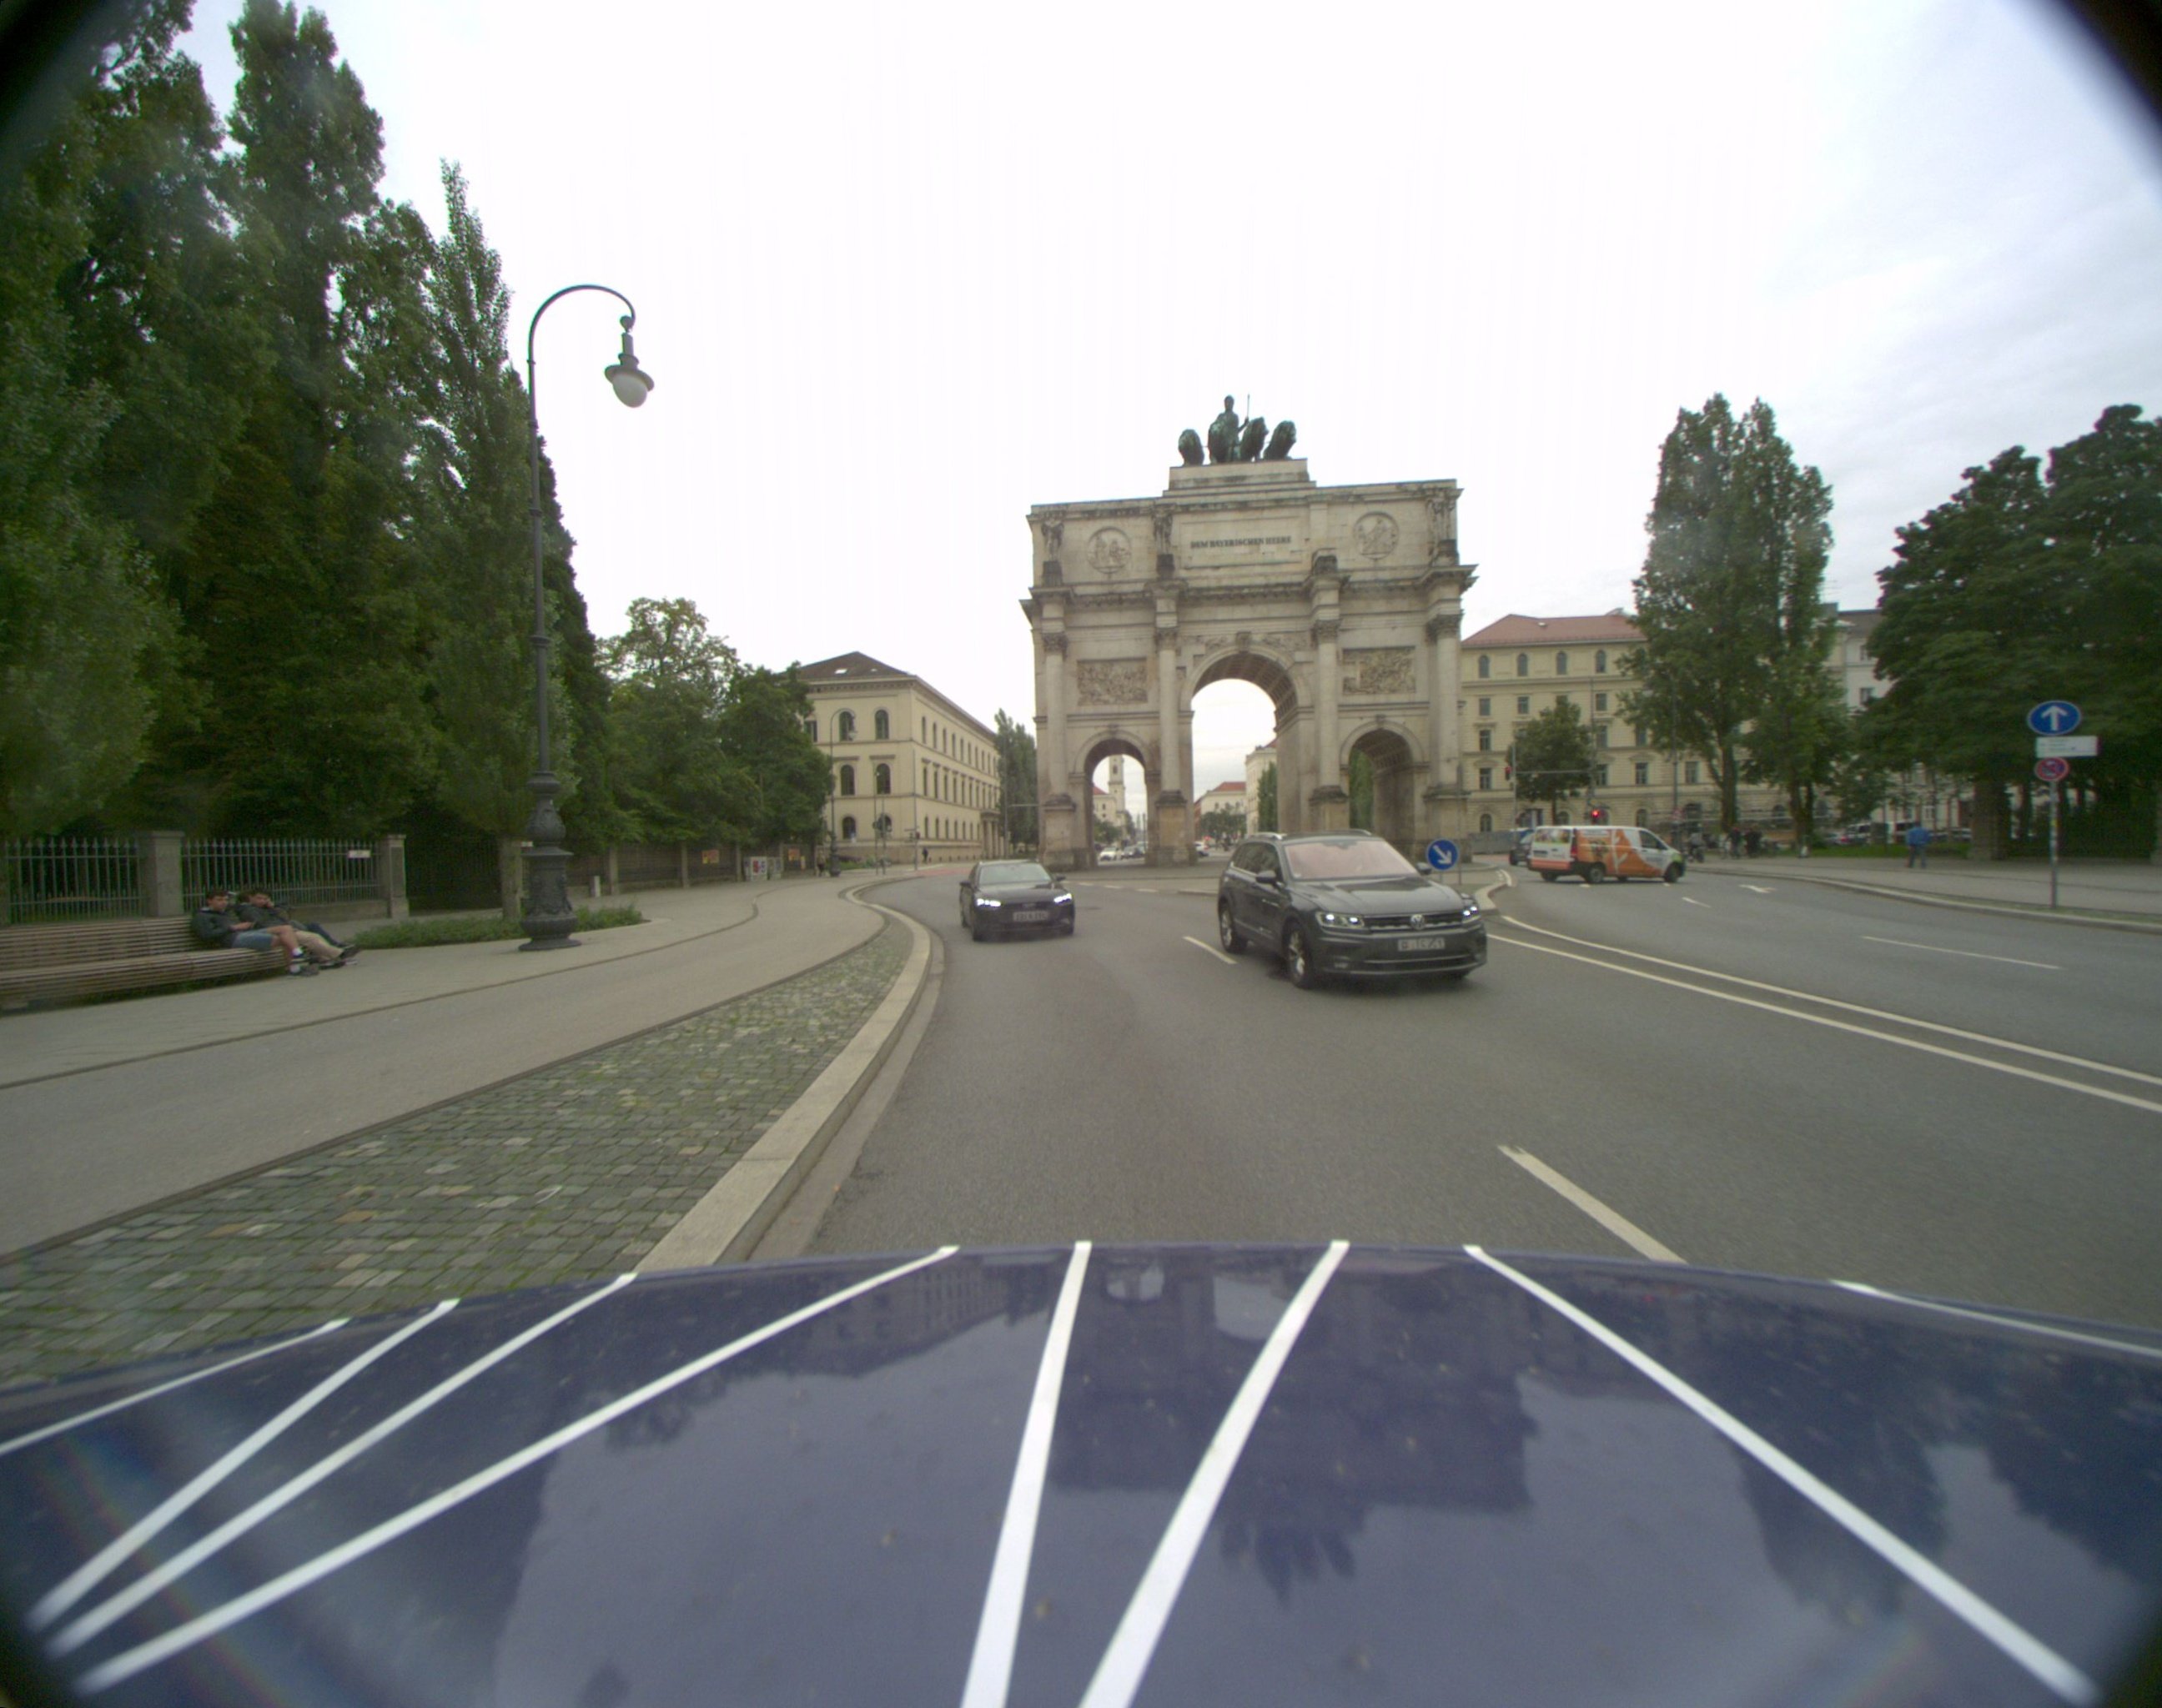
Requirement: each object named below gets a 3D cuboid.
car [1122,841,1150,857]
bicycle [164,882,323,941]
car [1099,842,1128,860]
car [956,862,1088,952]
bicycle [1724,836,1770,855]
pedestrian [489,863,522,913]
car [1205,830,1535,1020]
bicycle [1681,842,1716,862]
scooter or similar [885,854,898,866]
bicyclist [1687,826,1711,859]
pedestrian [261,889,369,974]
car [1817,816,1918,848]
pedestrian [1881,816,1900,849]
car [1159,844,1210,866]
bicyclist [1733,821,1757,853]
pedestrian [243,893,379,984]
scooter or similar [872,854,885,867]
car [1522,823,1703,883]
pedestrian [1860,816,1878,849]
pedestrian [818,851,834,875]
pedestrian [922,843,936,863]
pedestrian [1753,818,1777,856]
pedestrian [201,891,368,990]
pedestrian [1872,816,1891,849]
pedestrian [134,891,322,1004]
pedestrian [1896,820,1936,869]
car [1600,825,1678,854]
[{"bbox_3d":[6.345,-0.553,86.834,1.784,1.740,4.327,-1,1,24],"label":"car"},{"bbox_3d":[-20.892,1.383,19.090,0.674,1.232,2.999,0,1,-1],"label":"bicycle"},{"bbox_3d":[3.522,-0.349,81.624,1.784,1.740,4.326,-1,1,21],"label":"car"},{"bbox_3d":[-1.342,0.925,15.256,1.924,1.320,4.406,-4,1,-13],"label":"car"},{"bbox_3d":[35.508,-0.434,40.510,0.645,0.968,1.757,-2,1,-38],"label":"bicycle"},{"bbox_3d":[-19.376,1.142,25.594,0.590,1.611,0.536,-2,2,5],"label":"pedestrian"},{"bbox_3d":[3.035,0.614,9.163,1.954,1.615,4.409,-4,1,-4],"label":"car"},{"bbox_3d":[32.338,-0.116,39.807,0.643,0.968,1.763,-1,1,10],"label":"bicycle"},{"bbox_3d":[-17.673,0.563,70.911,0.567,1.135,1.657,-1,1,7],"label":"scooter or similar"},{"bbox_3d":[32.318,-0.601,39.727,0.643,1.700,0.860,-1,1,10],"label":"bicyclist"},{"bbox_3d":[-12.025,1.195,11.958,1.004,1.206,0.565,-3,2,-25],"label":"pedestrian"},{"bbox_3d":[53.734,-1.503,51.981,4.509,2.002,2.001,-1,1,8],"label":"car"},{"bbox_3d":[49.160,-1.309,46.138,0.533,2.002,0.594,-2,1,-5],"label":"pedestrian"},{"bbox_3d":[9.186,0.073,67.765,4.309,1.846,1.891,-2,1,2],"label":"car"},{"bbox_3d":[35.470,-0.906,40.584,0.645,1.700,0.858,-2,2,-37],"label":"bicyclist"},{"bbox_3d":[-11.603,1.246,11.496,1.268,1.209,0.574,-3,2,-25],"label":"pedestrian"},{"bbox_3d":[-18.783,0.612,70.515,0.567,1.135,1.657,-1,1,7],"label":"scooter or similar"},{"bbox_3d":[17.522,-0.077,25.139,4.992,1.844,2.003,-1,2,-12],"label":"car"},{"bbox_3d":[48.471,-1.291,46.749,0.533,2.002,0.594,-2,1,-5],"label":"pedestrian"},{"bbox_3d":[-17.291,0.596,51.505,0.738,1.589,0.818,-1,1,6],"label":"pedestrian"},{"bbox_3d":[-15.459,-0.136,77.190,0.942,2.002,1.005,0,2,40],"label":"pedestrian"},{"bbox_3d":[36.486,-0.925,40.541,0.796,2.002,0.754,-2,2,-30],"label":"pedestrian"},{"bbox_3d":[-11.305,1.194,10.852,1.371,1.200,0.807,-3,2,-24],"label":"pedestrian"},{"bbox_3d":[48.576,-1.285,46.116,0.533,2.002,0.594,-2,1,-5],"label":"pedestrian"},{"bbox_3d":[-11.013,1.170,9.877,1.330,1.267,0.807,-3,2,-17],"label":"pedestrian"},{"bbox_3d":[30.832,-0.358,28.072,0.752,1.776,0.917,-1,1,32],"label":"pedestrian"},{"bbox_3d":[39.903,-1.033,54.406,3.995,2.002,2.000,-1,1,5],"label":"car"}]
